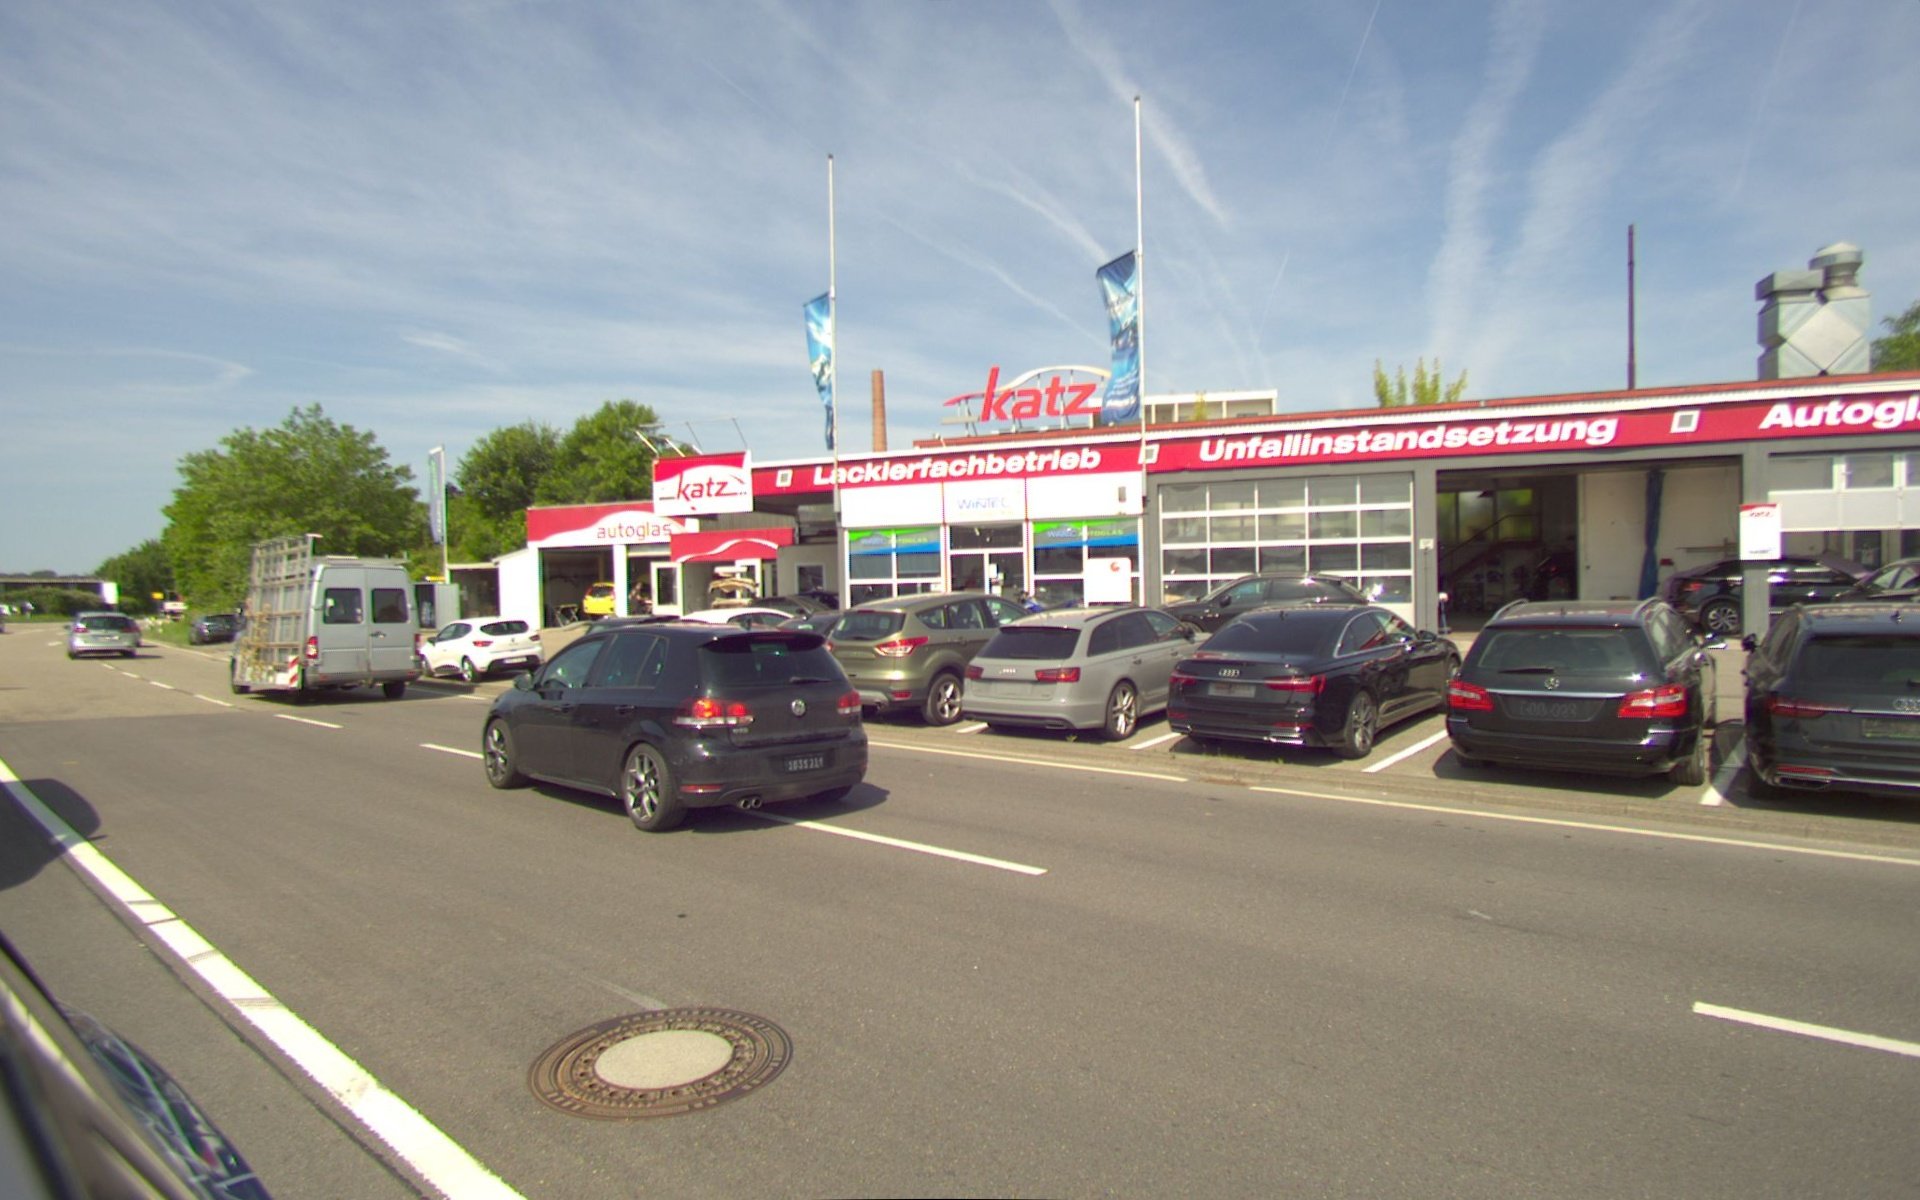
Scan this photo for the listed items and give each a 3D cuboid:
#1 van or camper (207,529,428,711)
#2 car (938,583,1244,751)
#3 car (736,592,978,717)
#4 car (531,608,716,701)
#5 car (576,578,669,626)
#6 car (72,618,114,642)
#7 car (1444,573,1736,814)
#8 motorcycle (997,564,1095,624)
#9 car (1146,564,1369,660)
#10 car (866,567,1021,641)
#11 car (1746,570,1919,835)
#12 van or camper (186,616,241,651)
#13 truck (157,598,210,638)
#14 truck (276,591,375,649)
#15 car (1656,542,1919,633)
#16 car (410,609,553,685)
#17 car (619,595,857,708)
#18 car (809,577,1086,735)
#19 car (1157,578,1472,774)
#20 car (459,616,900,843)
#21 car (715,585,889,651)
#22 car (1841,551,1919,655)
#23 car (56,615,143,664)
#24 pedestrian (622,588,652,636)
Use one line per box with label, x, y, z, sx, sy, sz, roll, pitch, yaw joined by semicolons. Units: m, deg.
van or camper;-12.820;0.390;19.998;5.901;3.079;2.184;-1;-1;42
car;1.815;0.689;12.791;1.834;1.495;4.236;-1;3;39
car;-1.568;0.780;16.421;1.790;1.536;3.672;-1;3;39
car;-6.624;0.984;19.759;3.782;1.505;1.760;-1;4;43
car;-13.858;0.043;41.790;1.726;1.738;3.649;-1;3;19
car;-57.900;1.991;67.661;1.885;1.533;4.791;0;-1;-38
car;6.088;0.641;9.508;1.770;1.495;4.416;-1;3;39
motorcycle;1.910;-0.119;22.561;2.040;1.271;0.767;-1;-1;21
car;5.906;0.188;20.360;4.091;1.686;1.819;0;5;17
car;-0.408;0.095;26.742;3.728;1.772;1.696;-1;3;17
car;7.336;0.622;7.898;1.800;1.495;3.807;-1;3;39
van or camper;-36.311;1.572;49.197;1.620;1.536;4.472;-2;1;-43
truck;-86.547;2.036;113.020;2.915;4.241;10.680;1;-2;-28
truck;-29.977;0.883;47.632;2.303;2.313;8.813;-7;4;-42
car;16.684;-0.202;20.530;3.998;1.685;1.893;-1;-1;29
car;-11.541;1.052;24.284;4.000;1.630;1.760;-1;0;43
car;-3.865;0.820;18.097;1.845;1.536;3.759;-1;3;39
car;-0.053;0.672;14.473;1.805;1.729;3.847;-1;3;41
car;4.059;0.648;11.121;1.797;1.495;4.255;-1;3;41
car;-2.445;0.855;8.286;3.925;1.420;1.648;-1;-2;42
car;-4.392;0.489;28.206;4.362;1.516;1.848;-3;2;19
car;15.322;0.035;15.312;1.757;1.544;3.921;-1;-1;22
car;-31.241;1.399;36.702;4.180;1.675;1.889;-1;-2;42
pedestrian;-12.020;0.440;37.630;0.895;1.775;0.714;0;1;45
